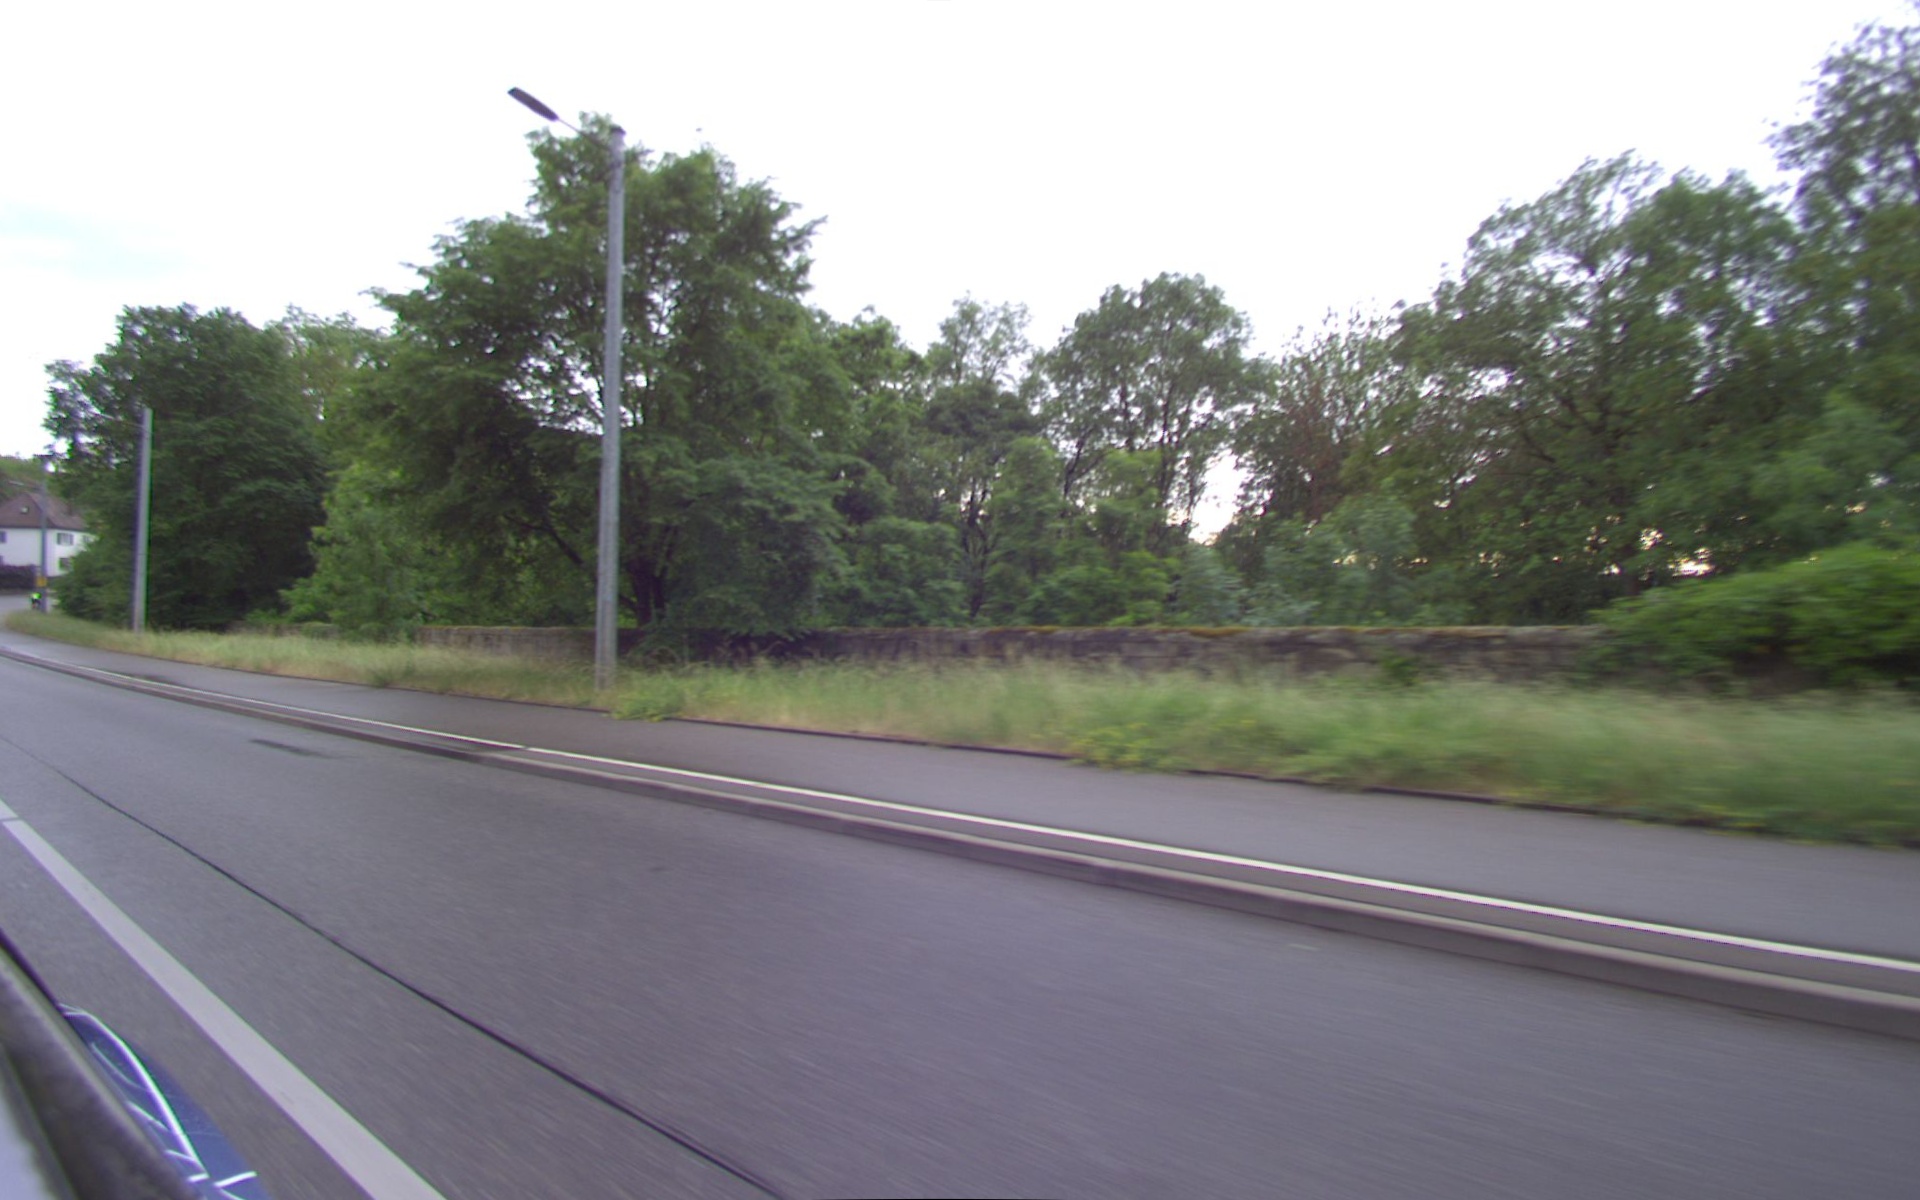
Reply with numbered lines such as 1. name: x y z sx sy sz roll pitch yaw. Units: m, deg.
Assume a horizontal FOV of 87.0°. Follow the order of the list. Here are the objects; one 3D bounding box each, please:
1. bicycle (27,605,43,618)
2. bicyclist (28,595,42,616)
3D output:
1. bicycle: -69.174 0.879 75.700 0.715 0.949 2.555 -1 0 -40
2. bicyclist: -69.075 0.426 75.592 0.699 1.568 1.172 -1 0 -40
